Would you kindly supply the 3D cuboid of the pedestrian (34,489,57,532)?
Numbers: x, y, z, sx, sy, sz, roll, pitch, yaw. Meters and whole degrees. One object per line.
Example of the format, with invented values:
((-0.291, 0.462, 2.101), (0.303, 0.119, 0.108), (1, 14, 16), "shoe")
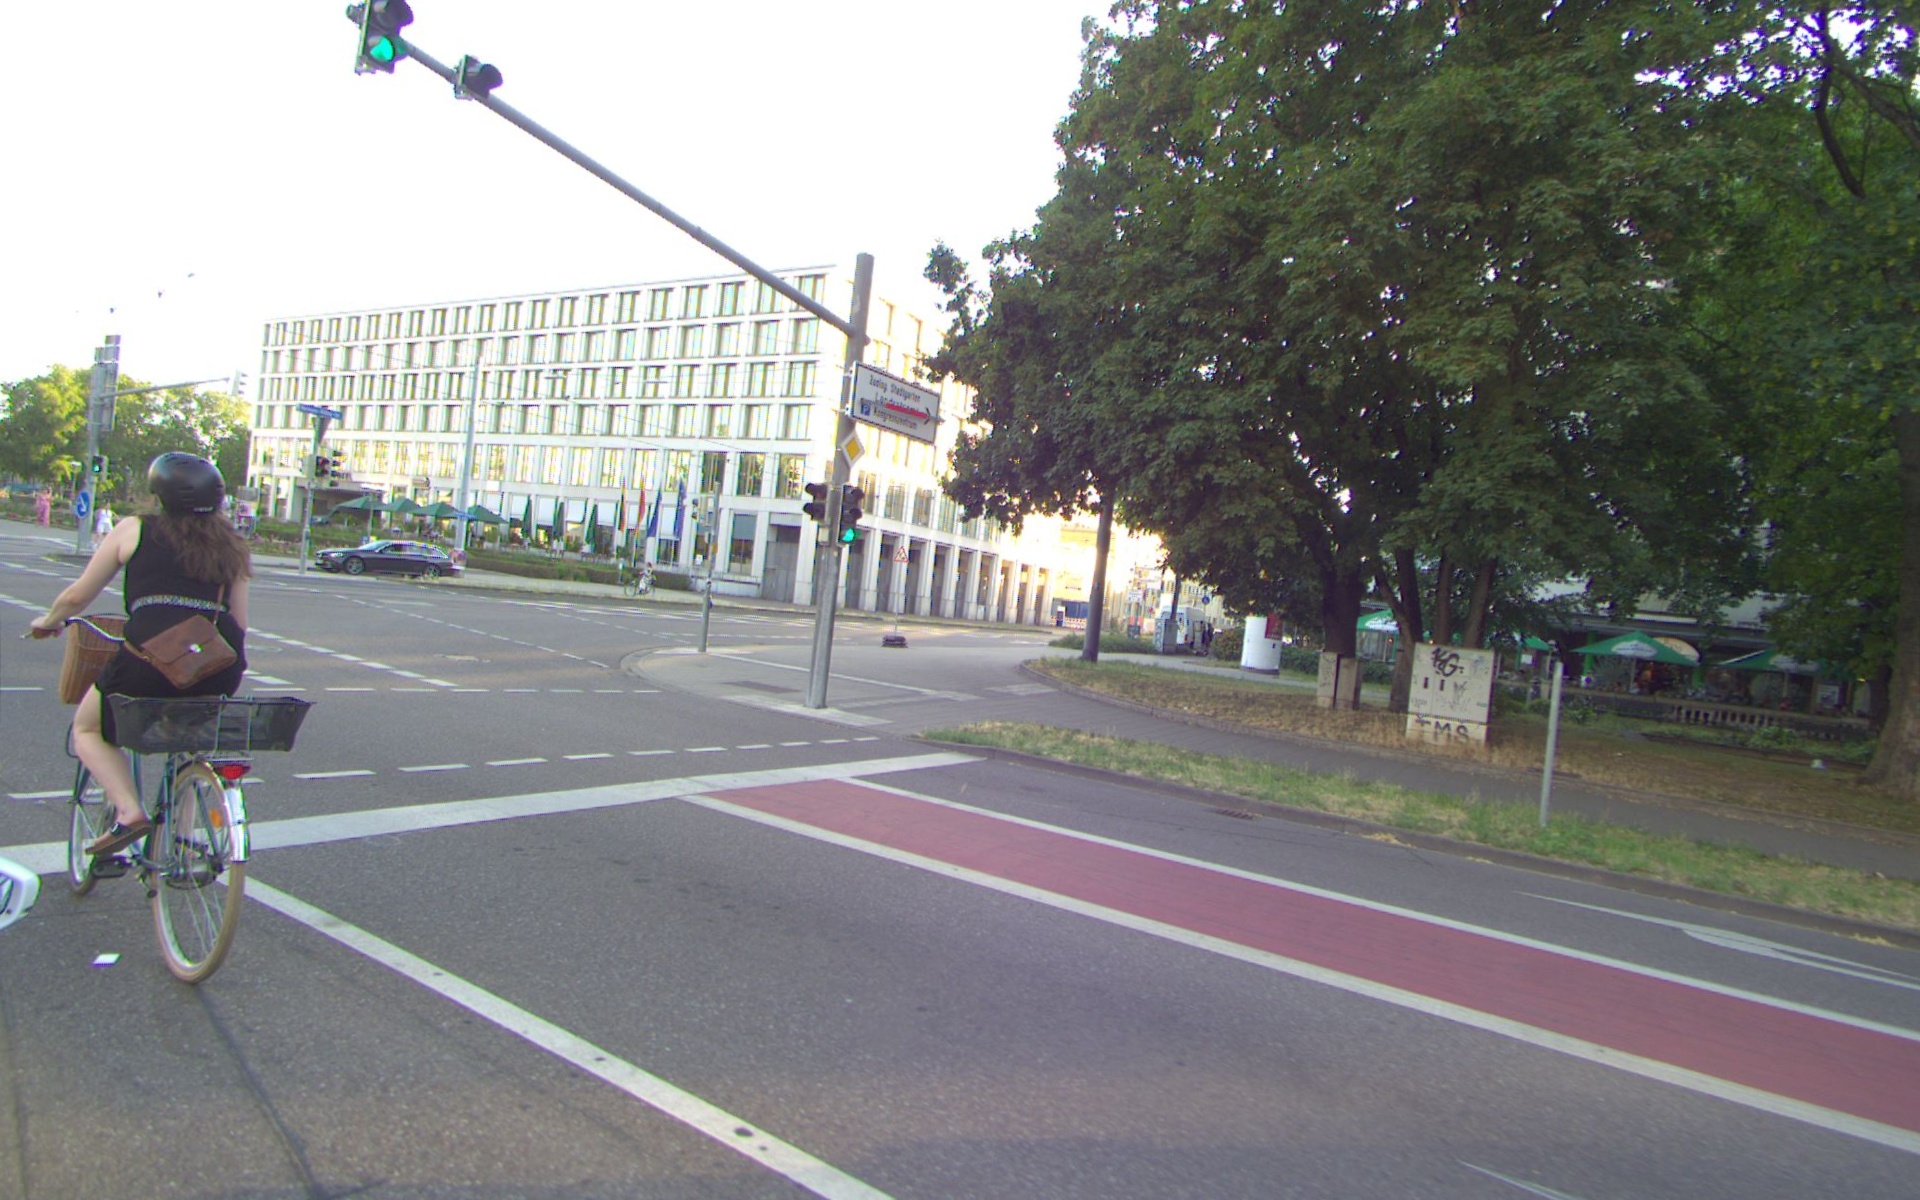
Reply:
((-37.012, -3.626, 40.705), (0.557, 1.678, 0.460), (7, 2, 32), "pedestrian")

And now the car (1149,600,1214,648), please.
((12.226, 1.366, 55.339), (1.967, 2.318, 4.605), (6, 0, 31), "car")

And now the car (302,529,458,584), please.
((-22.540, -1.658, 39.283), (1.968, 1.534, 4.826), (7, 0, 34), "car")

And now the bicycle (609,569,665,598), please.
((-15.260, -0.753, 47.568), (0.592, 1.120, 2.775), (7, 0, 29), "bicycle")

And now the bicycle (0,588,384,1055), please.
((-2.957, 0.629, 3.577), (1.971, 1.146, 0.612), (7, -1, 32), "bicycle")

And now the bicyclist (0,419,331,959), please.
((-2.905, 0.251, 3.578), (0.982, 1.655, 0.600), (7, 0, 32), "bicyclist")

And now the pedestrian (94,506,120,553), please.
((-29.595, -2.444, 34.884), (0.402, 1.559, 0.491), (7, 2, 31), "pedestrian")

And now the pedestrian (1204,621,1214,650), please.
((13.743, 1.952, 55.542), (0.302, 1.525, 0.336), (6, -1, 31), "pedestrian")

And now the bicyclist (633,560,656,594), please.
((-15.016, -1.099, 47.944), (0.567, 1.556, 0.708), (7, 1, 29), "bicyclist")
